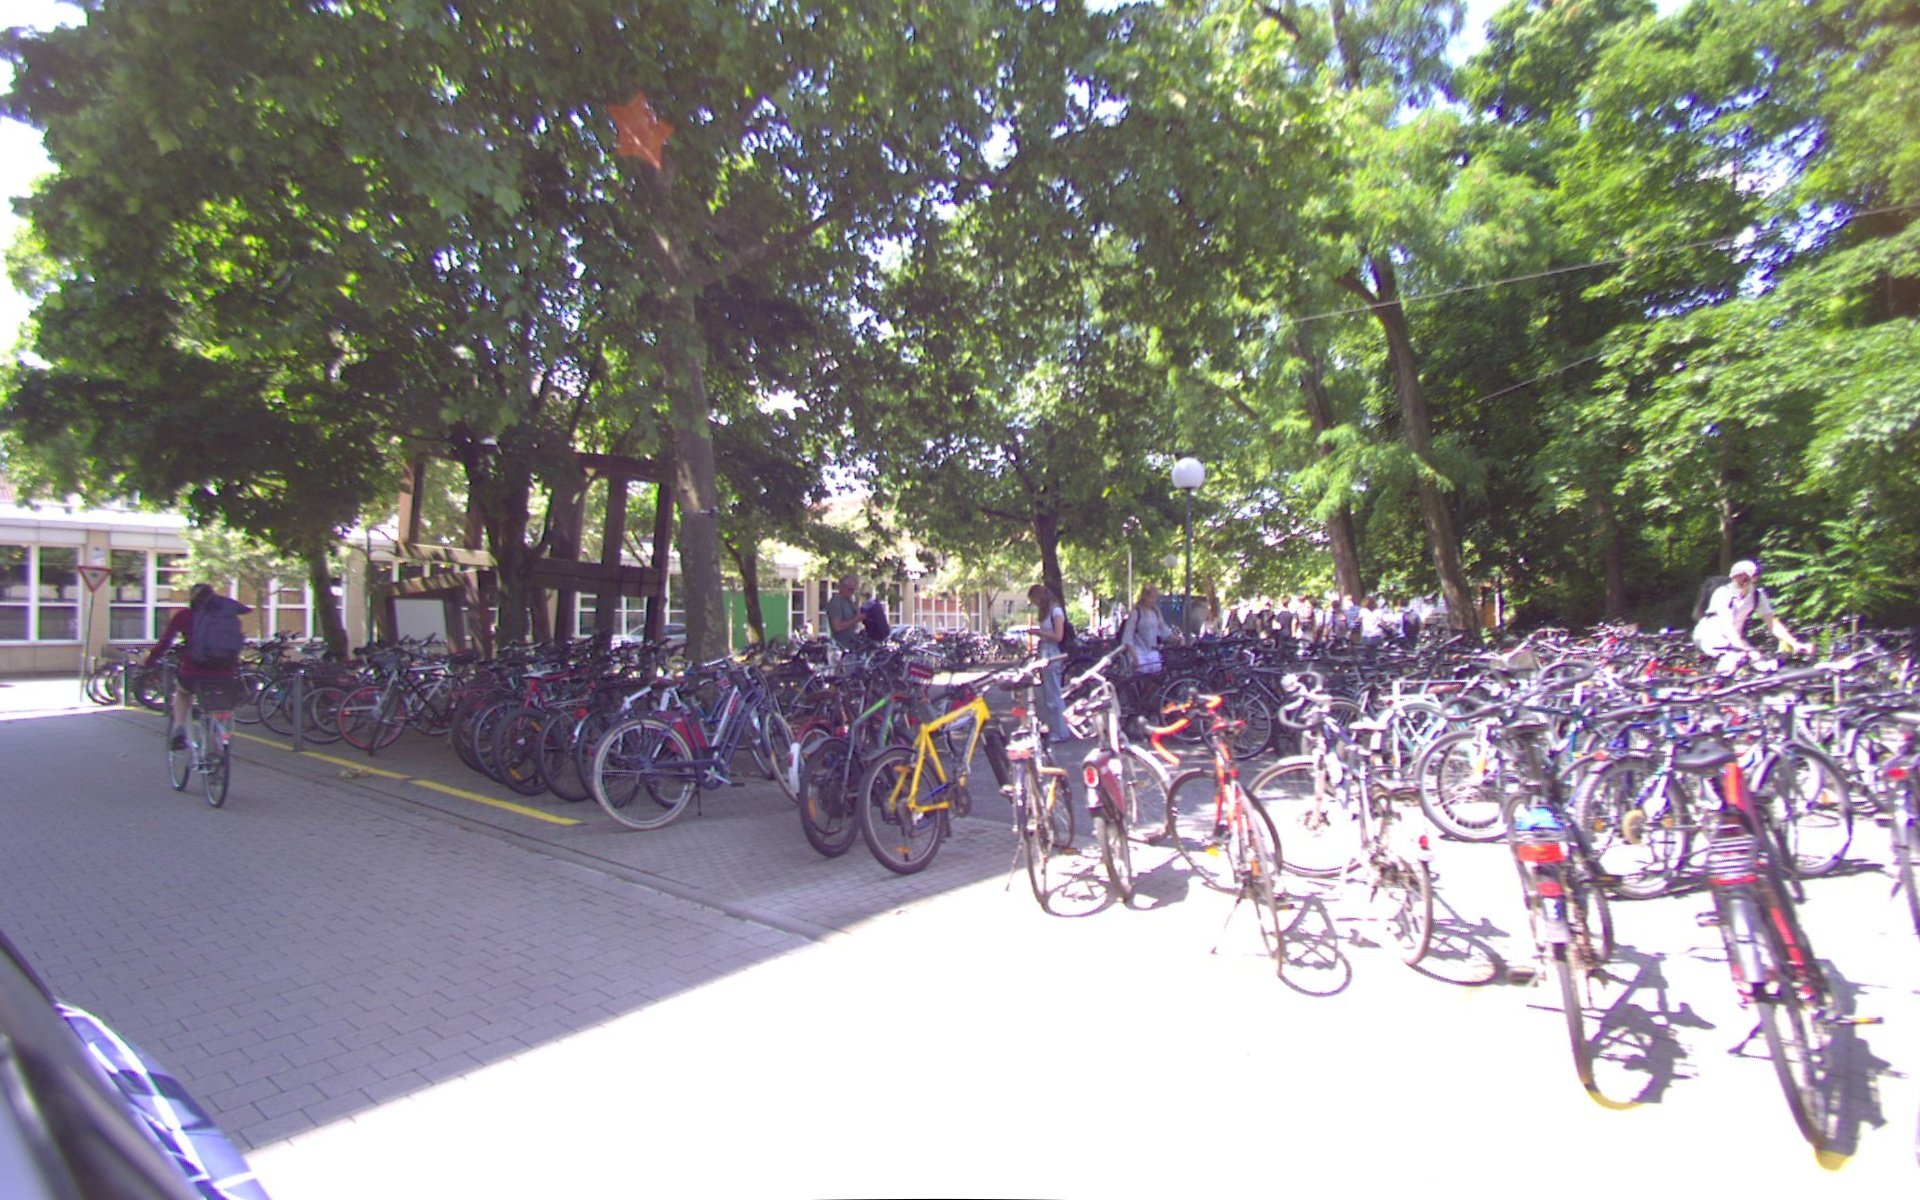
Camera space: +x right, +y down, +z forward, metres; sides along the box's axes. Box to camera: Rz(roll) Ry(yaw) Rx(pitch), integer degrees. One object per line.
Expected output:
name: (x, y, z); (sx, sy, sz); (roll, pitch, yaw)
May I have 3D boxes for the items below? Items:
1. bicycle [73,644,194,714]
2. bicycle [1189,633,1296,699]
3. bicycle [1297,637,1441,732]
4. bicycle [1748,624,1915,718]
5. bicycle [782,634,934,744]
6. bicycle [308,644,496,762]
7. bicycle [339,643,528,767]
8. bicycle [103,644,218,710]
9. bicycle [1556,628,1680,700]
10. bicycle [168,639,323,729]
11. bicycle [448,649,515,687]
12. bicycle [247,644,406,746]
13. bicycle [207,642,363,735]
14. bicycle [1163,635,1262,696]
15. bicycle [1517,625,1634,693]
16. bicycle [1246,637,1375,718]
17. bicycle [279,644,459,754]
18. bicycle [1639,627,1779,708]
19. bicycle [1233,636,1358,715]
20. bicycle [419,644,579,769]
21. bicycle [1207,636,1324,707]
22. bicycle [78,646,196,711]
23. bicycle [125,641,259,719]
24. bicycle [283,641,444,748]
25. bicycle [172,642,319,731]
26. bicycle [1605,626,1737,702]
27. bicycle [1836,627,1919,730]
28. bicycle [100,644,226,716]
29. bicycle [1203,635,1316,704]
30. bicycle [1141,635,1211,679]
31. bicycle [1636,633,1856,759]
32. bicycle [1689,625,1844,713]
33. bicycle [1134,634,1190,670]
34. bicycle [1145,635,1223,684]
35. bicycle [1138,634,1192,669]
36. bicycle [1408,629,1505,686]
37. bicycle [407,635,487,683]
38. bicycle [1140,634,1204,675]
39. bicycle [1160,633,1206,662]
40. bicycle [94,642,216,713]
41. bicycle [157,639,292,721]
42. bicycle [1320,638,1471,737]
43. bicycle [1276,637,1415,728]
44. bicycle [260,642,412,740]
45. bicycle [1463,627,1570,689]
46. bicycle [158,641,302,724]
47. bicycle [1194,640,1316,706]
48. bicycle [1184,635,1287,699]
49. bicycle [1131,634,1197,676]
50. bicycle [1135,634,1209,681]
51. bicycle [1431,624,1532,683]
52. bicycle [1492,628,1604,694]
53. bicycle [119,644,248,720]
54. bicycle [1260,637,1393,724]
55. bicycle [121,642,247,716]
bicycle: (-14.375, 1.344, 17.632); (1.605, 1.116, 0.497); (0, -1, -45)
bicycle: (4.845, 1.135, 17.412); (1.677, 1.092, 0.474); (-1, -1, 2)
bicycle: (5.043, 1.021, 12.484); (1.671, 1.092, 0.475); (0, -1, -14)
bicycle: (10.876, 0.868, 12.643); (1.750, 1.118, 0.518); (-1, -1, -7)
bicycle: (-1.153, 1.008, 11.641); (1.676, 1.209, 0.575); (-1, -1, 2)
bicycle: (-5.958, 1.064, 10.884); (0.497, 1.116, 1.717); (-1, -1, 41)
bicycle: (-5.435, 1.045, 10.542); (0.496, 1.135, 1.719); (-1, -1, 36)
bicycle: (-14.424, 1.381, 18.308); (1.603, 1.116, 0.498); (0, -4, -38)
bicycle: (10.733, 1.038, 16.530); (1.750, 1.118, 0.518); (-1, -1, -7)
bicycle: (-10.228, 1.163, 14.553); (0.496, 1.170, 1.764); (-1, -1, 36)
bicycle: (-15.195, 2.145, 32.174); (0.605, 1.116, 1.805); (0, -1, 42)
bicycle: (-7.629, 1.115, 12.216); (1.603, 1.116, 0.498); (0, -1, -35)
bicycle: (-9.082, 1.157, 13.653); (1.699, 1.116, 0.720); (0, -1, -39)
bicycle: (4.632, 1.202, 18.611); (1.677, 1.092, 0.474); (-1, -1, 2)
bicycle: (10.564, 0.997, 17.390); (1.750, 1.118, 0.518); (-1, -1, -7)
bicycle: (4.971, 1.083, 14.378); (1.673, 1.092, 0.475); (-1, -1, -6)
bicycle: (-6.636, 1.076, 11.433); (1.711, 1.116, 0.576); (0, -1, -30)
bicycle: (10.932, 0.975, 14.789); (1.750, 1.118, 0.518); (-1, -1, -7)
bicycle: (4.932, 1.099, 14.902); (1.673, 1.092, 0.475); (-1, -1, -6)
bicycle: (-4.687, 1.037, 10.416); (0.493, 1.116, 1.731); (-1, -1, 17)
bicycle: (4.816, 1.122, 15.988); (1.677, 1.092, 0.474); (-1, -1, 2)
bicycle: (-15.146, 1.432, 18.657); (0.496, 1.116, 1.608); (-4, -4, 40)
bicycle: (-12.000, 1.218, 15.843); (1.605, 1.116, 0.691); (0, -1, -44)
bicycle: (-7.037, 1.078, 11.969); (1.603, 1.152, 0.498); (0, -1, -35)
bicycle: (-9.936, 1.172, 14.131); (0.496, 1.116, 1.610); (-1, -1, 36)
bicycle: (10.981, 0.973, 15.650); (1.750, 1.118, 0.518); (-1, -1, -7)
bicycle: (11.056, 0.873, 11.604); (1.749, 1.118, 0.518); (0, -1, -10)
bicycle: (-13.393, 1.318, 17.038); (0.630, 1.116, 1.606); (-2, -1, 45)
bicycle: (4.885, 1.135, 16.564); (1.677, 1.092, 0.474); (-1, -1, 2)
bicycle: (5.441, 1.430, 25.560); (1.679, 1.092, 0.473); (-1, -1, 8)
bicycle: (7.616, 0.883, 9.915); (0.594, 1.092, 1.703); (0, -1, -11)
bicycle: (10.784, 0.909, 13.540); (1.750, 1.118, 0.518); (-1, -1, -7)
bicycle: (6.231, 1.616, 31.268); (1.682, 1.092, 0.472); (-1, -1, 12)
bicycle: (5.148, 1.359, 23.303); (1.677, 1.092, 0.474); (-1, -1, 2)
bicycle: (6.533, 1.652, 32.310); (1.682, 1.092, 0.472); (-1, -1, 12)
bicycle: (10.120, 1.159, 20.650); (1.750, 1.118, 0.518); (-1, -1, -7)
bicycle: (-12.681, 1.438, 25.057); (0.392, 1.116, 1.818); (-1, -1, 34)
bicycle: (5.766, 1.493, 27.606); (1.682, 1.092, 0.472); (-1, -1, 12)
bicycle: (8.533, 1.828, 38.775); (1.682, 1.092, 0.472); (-1, -1, 12)
bicycle: (-13.818, 1.312, 17.408); (1.605, 1.116, 0.497); (0, -1, -45)
bicycle: (-11.248, 1.192, 15.517); (0.497, 1.159, 1.607); (-1, -1, 41)
bicycle: (5.143, 1.009, 11.966); (1.671, 1.092, 0.475); (0, -1, -14)
bicycle: (4.939, 1.042, 12.974); (1.671, 1.092, 0.475); (0, -1, -14)
bicycle: (-7.855, 1.115, 12.776); (1.603, 1.116, 0.564); (0, -1, -35)
bicycle: (10.428, 1.077, 18.974); (1.750, 1.118, 0.518); (-1, -1, -7)
bicycle: (-10.736, 1.182, 14.934); (0.644, 1.116, 1.610); (-1, -1, 36)
bicycle: (4.521, 1.114, 15.554); (1.716, 0.969, 0.452); (-1, -1, 2)
bicycle: (4.868, 1.184, 17.956); (1.677, 1.092, 0.474); (-1, -1, 2)
bicycle: (5.378, 1.460, 26.763); (1.682, 1.092, 0.472); (-1, -1, 12)
bicycle: (5.140, 1.394, 24.599); (1.677, 1.092, 0.474); (-1, -1, 2)
bicycle: (10.234, 1.047, 19.888); (1.750, 1.118, 0.518); (-1, -1, -7)
bicycle: (10.538, 1.080, 18.148); (1.750, 1.118, 0.518); (-1, -1, -7)
bicycle: (-12.515, 1.291, 16.347); (1.605, 1.116, 0.497); (0, -1, -45)
bicycle: (4.921, 1.060, 13.596); (1.671, 1.092, 0.475); (0, -1, -14)
bicycle: (-12.853, 1.282, 16.794); (1.605, 1.116, 0.506); (0, -1, -45)
